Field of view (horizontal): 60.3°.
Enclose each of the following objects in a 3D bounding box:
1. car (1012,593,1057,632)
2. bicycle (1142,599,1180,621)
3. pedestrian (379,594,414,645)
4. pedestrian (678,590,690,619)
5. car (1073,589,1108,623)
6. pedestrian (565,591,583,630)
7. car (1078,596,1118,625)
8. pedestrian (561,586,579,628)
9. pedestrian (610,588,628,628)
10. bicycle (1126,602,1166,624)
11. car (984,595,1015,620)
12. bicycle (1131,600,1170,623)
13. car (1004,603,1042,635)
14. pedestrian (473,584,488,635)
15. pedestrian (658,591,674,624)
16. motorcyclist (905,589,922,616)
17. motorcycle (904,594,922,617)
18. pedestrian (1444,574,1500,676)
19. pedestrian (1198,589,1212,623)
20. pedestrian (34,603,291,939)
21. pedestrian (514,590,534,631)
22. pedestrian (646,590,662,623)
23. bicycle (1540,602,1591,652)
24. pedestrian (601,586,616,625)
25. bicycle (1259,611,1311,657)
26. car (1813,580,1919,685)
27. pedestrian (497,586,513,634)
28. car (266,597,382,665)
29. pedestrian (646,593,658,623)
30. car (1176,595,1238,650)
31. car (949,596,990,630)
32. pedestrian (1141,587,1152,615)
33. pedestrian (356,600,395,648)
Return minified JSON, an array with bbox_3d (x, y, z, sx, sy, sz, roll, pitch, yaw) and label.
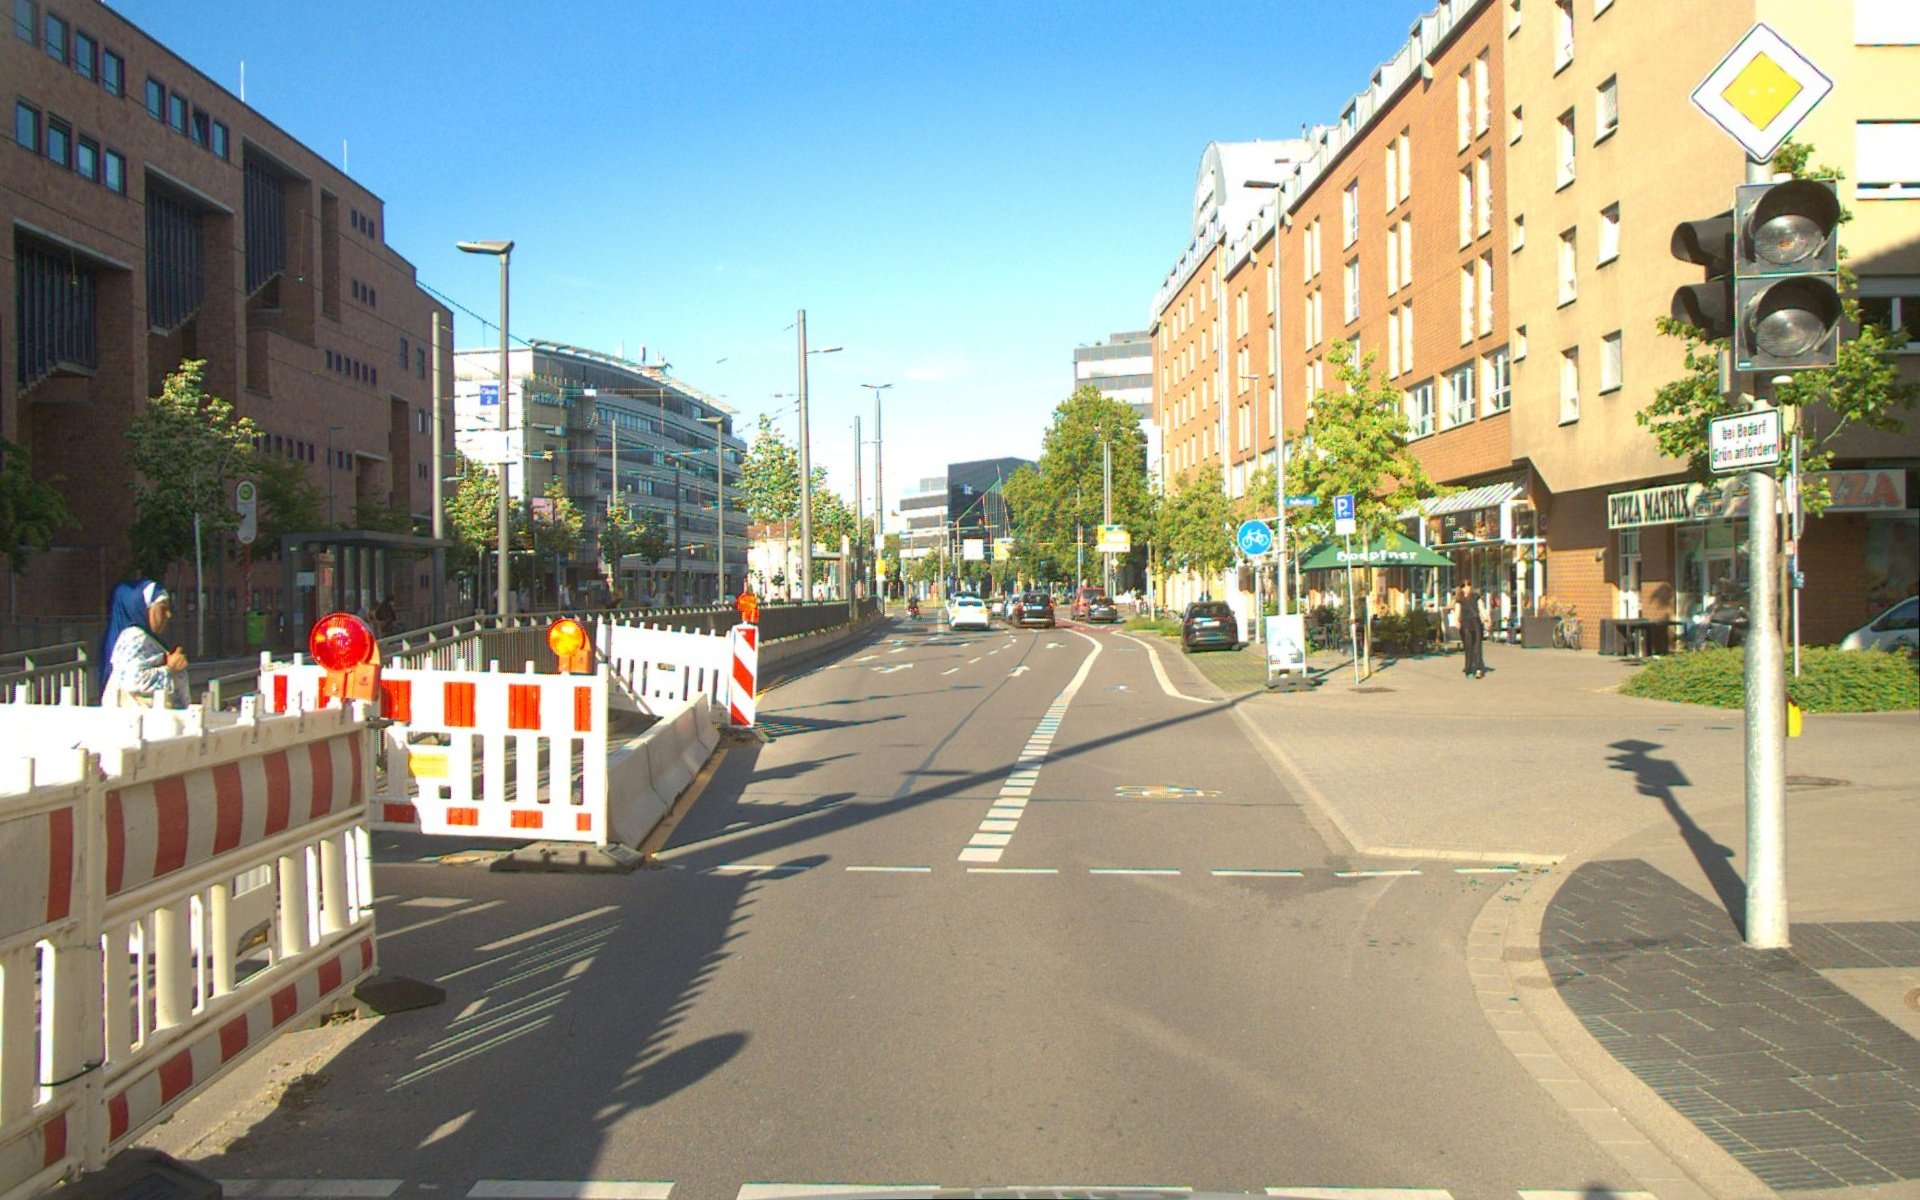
[{"bbox_3d":[3.667,0.595,81.879,1.935,1.790,4.632,1,0,0],"label":"car"},{"bbox_3d":[10.530,0.520,86.603,1.903,1.093,0.626,-2,-1,11],"label":"bicycle"},{"bbox_3d":[-15.045,0.522,44.201,0.633,1.331,0.721,-3,0,-1],"label":"pedestrian"},{"bbox_3d":[-17.456,0.283,104.744,0.601,1.849,0.897,0,0,-1],"label":"pedestrian"},{"bbox_3d":[7.890,0.340,100.577,1.822,1.995,4.000,-1,0,1],"label":"car"},{"bbox_3d":[-16.235,0.434,69.512,0.610,1.640,0.616,0,0,-1],"label":"pedestrian"},{"bbox_3d":[7.832,0.563,94.292,1.809,1.588,4.632,1,0,0],"label":"car"},{"bbox_3d":[-16.231,0.271,68.886,0.610,1.744,0.616,0,0,-1],"label":"pedestrian"},{"bbox_3d":[-15.062,0.348,73.093,0.627,1.725,0.541,1,0,-1],"label":"pedestrian"},{"bbox_3d":[9.270,0.644,82.454,1.904,1.040,0.502,-2,-1,17],"label":"bicycle"},{"bbox_3d":[2.498,0.479,106.437,1.813,1.524,4.378,0,0,-1],"label":"car"},{"bbox_3d":[9.627,0.598,83.684,1.903,1.094,0.555,-2,-1,10],"label":"bicycle"},{"bbox_3d":[3.366,1.012,89.293,1.813,1.668,4.378,0,0,-1],"label":"car"},{"bbox_3d":[-15.953,0.322,55.031,0.370,1.677,0.416,1,0,-1],"label":"pedestrian"},{"bbox_3d":[-15.086,0.363,84.910,0.627,1.672,0.945,1,0,-1],"label":"pedestrian"},{"bbox_3d":[-2.881,0.159,101.884,0.998,1.631,1.148,1,0,-1],"label":"motorcyclist"},{"bbox_3d":[-2.878,0.337,101.876,0.998,1.335,2.914,1,0,0],"label":"motorcycle"},{"bbox_3d":[9.338,0.457,30.135,0.865,1.794,1.106,-3,-1,19],"label":"pedestrian"},{"bbox_3d":[13.363,0.326,90.277,0.594,1.853,0.748,-1,0,-2],"label":"pedestrian"},{"bbox_3d":[-3.770,0.765,7.894,0.773,1.483,0.946,-1,0,-3],"label":"pedestrian"},{"bbox_3d":[-15.923,0.365,60.442,0.528,1.485,0.642,1,0,-1],"label":"pedestrian"},{"bbox_3d":[-15.720,0.336,84.903,0.627,1.636,0.945,1,0,-1],"label":"pedestrian"},{"bbox_3d":[15.293,0.673,41.814,0.601,1.190,1.536,-2,0,-4],"label":"bicycle"},{"bbox_3d":[-16.173,0.261,76.094,0.570,1.768,0.616,0,0,-1],"label":"pedestrian"},{"bbox_3d":[8.440,0.890,43.014,0.750,1.100,1.996,-6,-1,-4],"label":"bicycle"},{"bbox_3d":[14.474,0.470,24.032,1.633,1.500,3.825,1,0,-12],"label":"car"},{"bbox_3d":[-15.895,0.347,57.779,0.370,1.649,0.553,1,0,-1],"label":"pedestrian"},{"bbox_3d":[-18.862,0.872,49.251,1.954,1.913,4.579,-1,0,-4],"label":"car"},{"bbox_3d":[-17.013,0.430,91.461,0.552,1.637,0.616,0,0,-1],"label":"pedestrian"},{"bbox_3d":[7.867,0.688,52.937,1.684,1.665,4.234,-2,0,5],"label":"car"},{"bbox_3d":[0.420,0.580,76.261,1.744,1.439,4.818,1,0,-1],"label":"car"},{"bbox_3d":[12.322,0.073,109.020,0.594,1.853,0.748,-1,0,-2],"label":"pedestrian"},{"bbox_3d":[-14.898,0.607,42.164,0.706,1.188,0.721,-3,0,-1],"label":"pedestrian"}]
